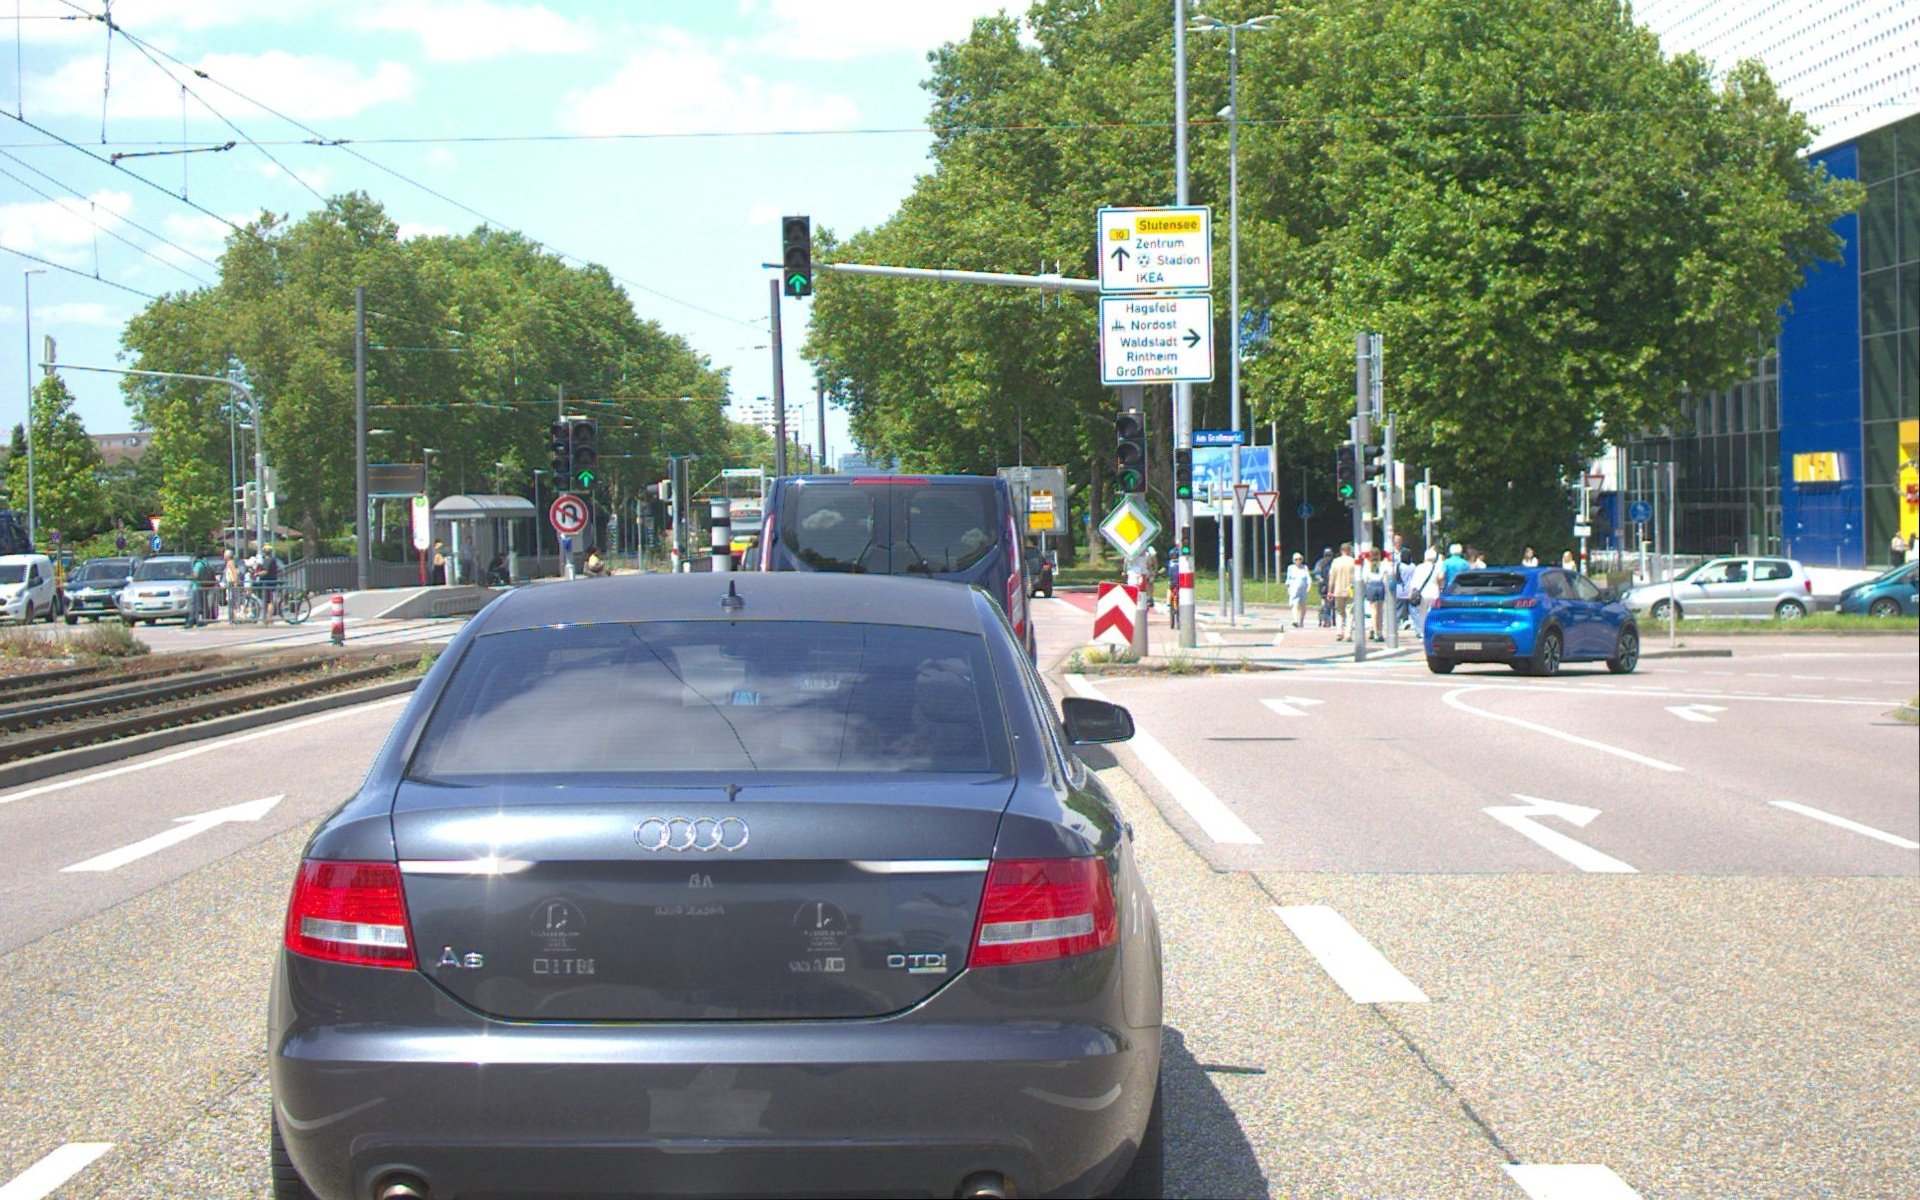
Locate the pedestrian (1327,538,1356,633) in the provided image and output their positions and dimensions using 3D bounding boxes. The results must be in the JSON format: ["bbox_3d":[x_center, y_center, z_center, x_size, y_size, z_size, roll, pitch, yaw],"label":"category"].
[{"bbox_3d":[6.575,-0.255,59.258,0.445,1.629,0.430,0,1,3],"label":"pedestrian"}]

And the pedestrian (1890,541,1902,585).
[{"bbox_3d":[28.558,-1.143,104.941,0.288,1.338,0.266,0,0,0],"label":"pedestrian"}]

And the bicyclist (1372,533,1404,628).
[{"bbox_3d":[8.033,-0.369,64.514,0.529,1.758,0.827,0,1,13],"label":"bicyclist"}]

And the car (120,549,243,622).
[{"bbox_3d":[-18.876,-0.372,83.558,1.822,1.664,4.461,1,1,2],"label":"car"}]

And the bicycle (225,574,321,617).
[{"bbox_3d":[-15.119,-0.102,75.743,2.055,0.922,0.753,0,1,-10],"label":"bicycle"}]

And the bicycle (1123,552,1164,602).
[{"bbox_3d":[3.777,-0.484,70.892,0.688,0.990,2.752,0,1,0],"label":"bicycle"}]

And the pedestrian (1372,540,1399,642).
[{"bbox_3d":[6.780,-0.146,54.776,0.381,1.629,0.377,0,1,3],"label":"pedestrian"}]

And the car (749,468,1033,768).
[{"bbox_3d":[-0.471,0.093,24.235,1.836,1.943,4.000,0,1,-1],"label":"car"}]

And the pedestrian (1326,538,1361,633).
[{"bbox_3d":[6.604,-0.246,59.243,0.554,1.629,0.433,0,1,3],"label":"pedestrian"}]

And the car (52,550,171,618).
[{"bbox_3d":[-22.010,-0.444,89.313,1.822,1.664,4.461,1,1,2],"label":"car"}]

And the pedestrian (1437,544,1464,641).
[{"bbox_3d":[8.271,-0.132,57.940,0.398,1.629,0.371,0,1,3],"label":"pedestrian"}]

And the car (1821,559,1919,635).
[{"bbox_3d":[19.812,-0.051,70.627,3.789,1.481,2.000,1,1,3],"label":"car"}]

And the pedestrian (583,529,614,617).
[{"bbox_3d":[-8.268,-0.618,78.731,0.685,2.007,0.573,0,0,-4],"label":"pedestrian"}]

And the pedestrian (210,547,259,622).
[{"bbox_3d":[-16.743,-0.370,79.355,0.824,1.714,0.774,1,1,22],"label":"pedestrian"}]

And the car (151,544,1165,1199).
[{"bbox_3d":[-0.547,0.611,8.114,1.792,1.450,4.000,0,1,0],"label":"car"}]

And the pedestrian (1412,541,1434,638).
[{"bbox_3d":[7.808,-0.178,57.930,0.320,1.629,0.377,0,1,3],"label":"pedestrian"}]

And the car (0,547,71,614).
[{"bbox_3d":[-25.011,-0.532,90.808,1.822,1.664,4.461,1,1,1],"label":"car"}]

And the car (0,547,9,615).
[{"bbox_3d":[-24.553,-0.450,83.252,1.822,1.664,4.461,1,1,0],"label":"car"}]

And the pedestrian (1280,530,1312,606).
[{"bbox_3d":[6.771,-0.649,69.302,0.494,1.514,0.706,1,1,17],"label":"pedestrian"}]

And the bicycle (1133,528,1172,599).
[{"bbox_3d":[4.176,-0.807,74.697,0.688,1.514,2.752,0,1,0],"label":"bicycle"}]

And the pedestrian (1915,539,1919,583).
[{"bbox_3d":[29.121,-1.172,104.130,0.288,1.338,0.266,0,0,0],"label":"pedestrian"}]

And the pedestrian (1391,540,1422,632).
[{"bbox_3d":[8.029,-0.255,61.875,0.504,1.629,0.449,0,1,3],"label":"pedestrian"}]

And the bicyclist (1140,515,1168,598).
[{"bbox_3d":[4.172,-0.932,74.061,0.528,1.783,1.088,0,1,0],"label":"bicyclist"}]

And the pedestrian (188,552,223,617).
[{"bbox_3d":[-16.814,-0.343,76.604,0.685,1.438,0.573,0,1,-4],"label":"pedestrian"}]

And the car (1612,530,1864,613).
[{"bbox_3d":[15.193,-0.570,67.314,4.498,1.481,2.000,1,1,3],"label":"car"}]

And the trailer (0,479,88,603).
[{"bbox_3d":[-28.535,-1.707,99.509,2.767,3.506,15.879,0,1,-1],"label":"trailer"}]

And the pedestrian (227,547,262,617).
[{"bbox_3d":[-16.174,-0.407,77.715,0.685,1.559,0.573,0,1,-4],"label":"pedestrian"}]

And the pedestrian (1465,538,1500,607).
[{"bbox_3d":[12.385,-0.649,81.516,0.705,1.629,0.611,1,1,19],"label":"pedestrian"}]

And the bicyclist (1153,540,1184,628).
[{"bbox_3d":[4.012,-0.310,66.198,0.528,1.670,1.088,0,1,0],"label":"bicyclist"}]

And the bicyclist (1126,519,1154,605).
[{"bbox_3d":[3.717,-0.787,71.080,0.528,1.783,1.088,0,1,0],"label":"bicyclist"}]

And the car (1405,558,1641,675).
[{"bbox_3d":[7.630,0.192,46.327,1.840,1.449,3.993,2,1,29],"label":"car"}]

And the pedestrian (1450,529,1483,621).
[{"bbox_3d":[9.187,-0.454,62.384,0.521,1.664,0.494,0,1,3],"label":"pedestrian"}]
